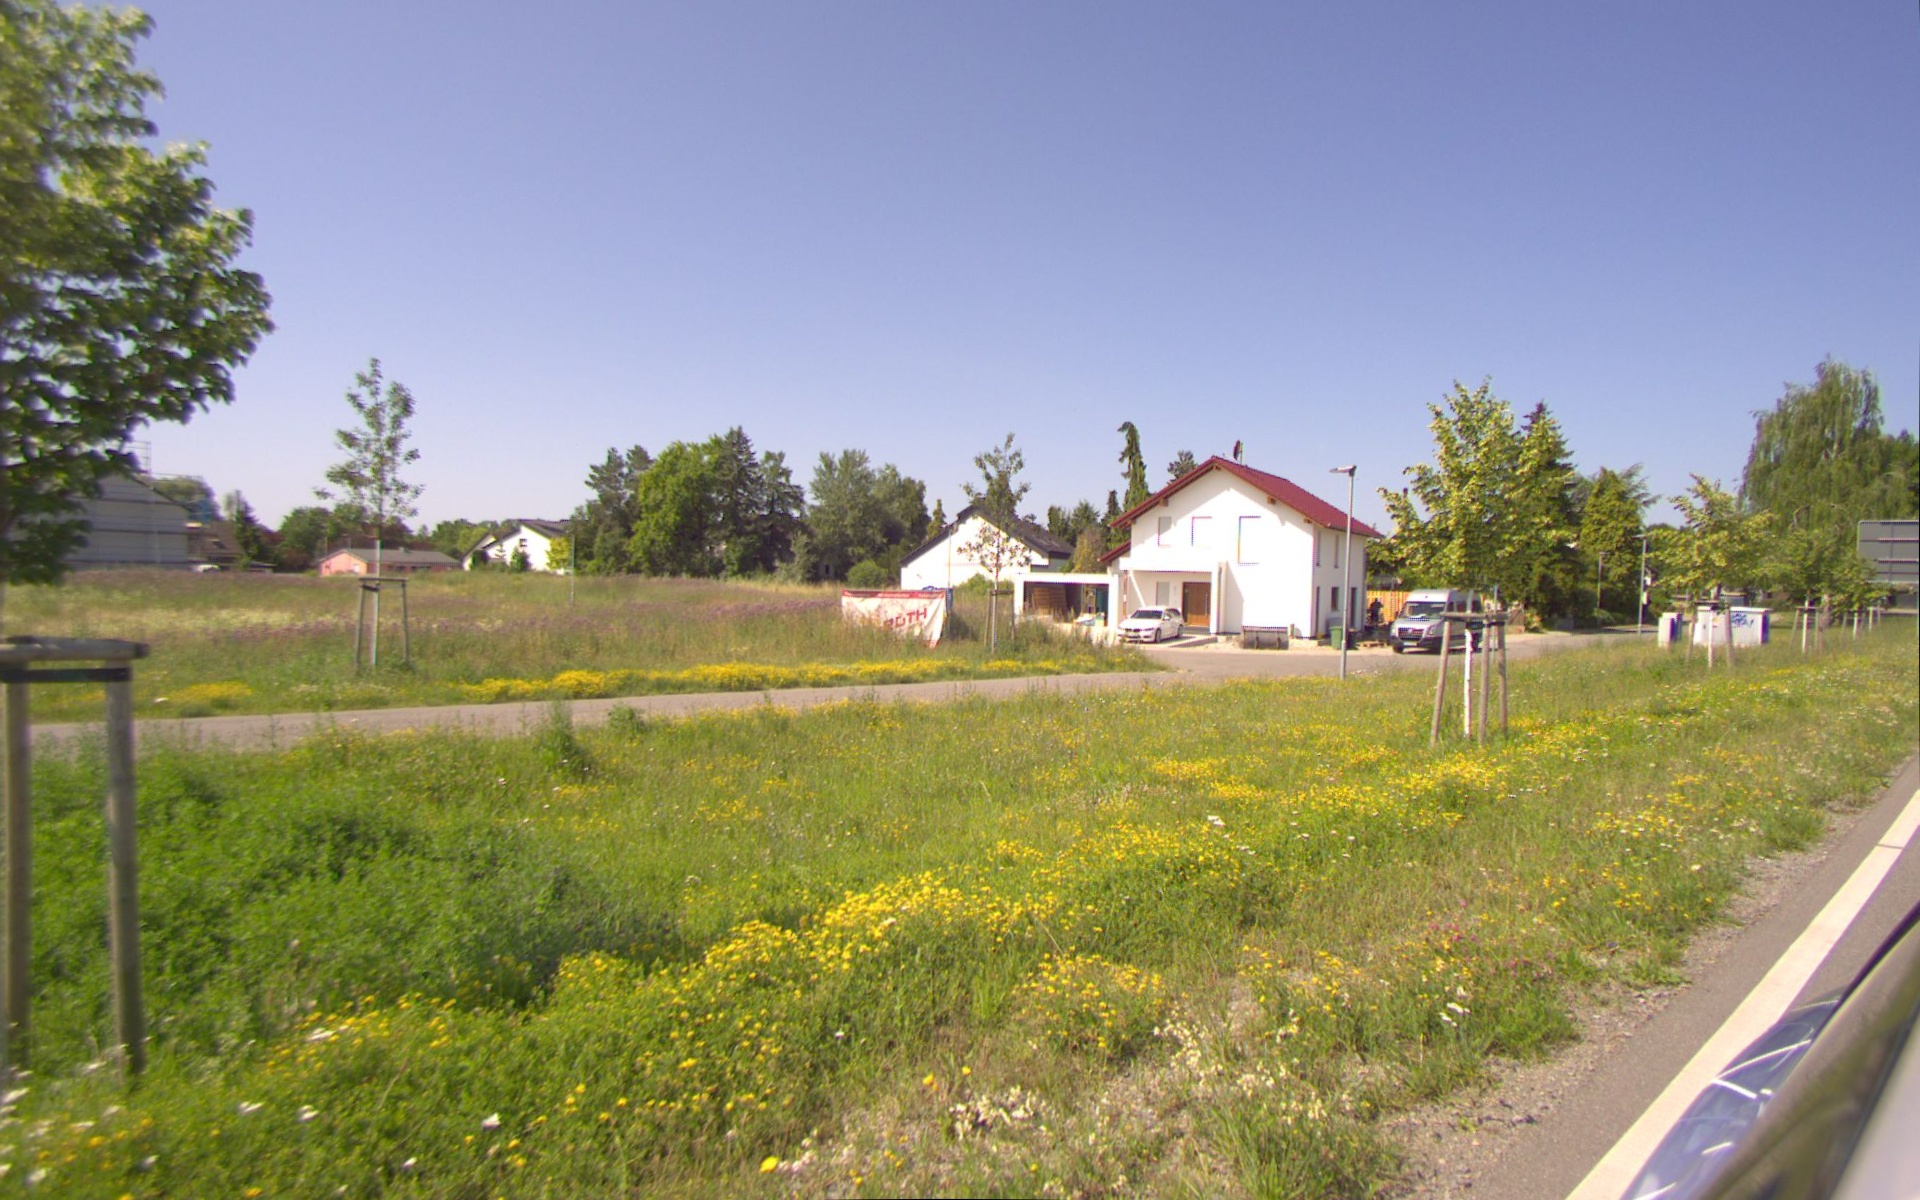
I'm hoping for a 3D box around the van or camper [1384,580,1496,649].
[{"bbox_3d":[19.891,0.497,41.771,5.929,2.633,2.174,-1,1,-43],"label":"van or camper"}]

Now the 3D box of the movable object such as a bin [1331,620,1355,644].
[{"bbox_3d":[15.755,1.301,41.600,0.627,0.949,0.694,1,1,-38],"label":"movable object such as a bin"}]

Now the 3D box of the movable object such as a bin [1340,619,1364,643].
[{"bbox_3d":[16.281,1.293,42.031,0.627,0.949,0.694,1,1,-38],"label":"movable object such as a bin"}]

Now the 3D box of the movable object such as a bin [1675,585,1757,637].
[{"bbox_3d":[39.321,0.485,52.541,6.830,2.494,2.318,-1,1,-44],"label":"movable object such as a bin"}]

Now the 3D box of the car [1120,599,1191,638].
[{"bbox_3d":[8.589,0.752,44.160,1.552,1.577,4.437,0,0,32],"label":"car"}]
